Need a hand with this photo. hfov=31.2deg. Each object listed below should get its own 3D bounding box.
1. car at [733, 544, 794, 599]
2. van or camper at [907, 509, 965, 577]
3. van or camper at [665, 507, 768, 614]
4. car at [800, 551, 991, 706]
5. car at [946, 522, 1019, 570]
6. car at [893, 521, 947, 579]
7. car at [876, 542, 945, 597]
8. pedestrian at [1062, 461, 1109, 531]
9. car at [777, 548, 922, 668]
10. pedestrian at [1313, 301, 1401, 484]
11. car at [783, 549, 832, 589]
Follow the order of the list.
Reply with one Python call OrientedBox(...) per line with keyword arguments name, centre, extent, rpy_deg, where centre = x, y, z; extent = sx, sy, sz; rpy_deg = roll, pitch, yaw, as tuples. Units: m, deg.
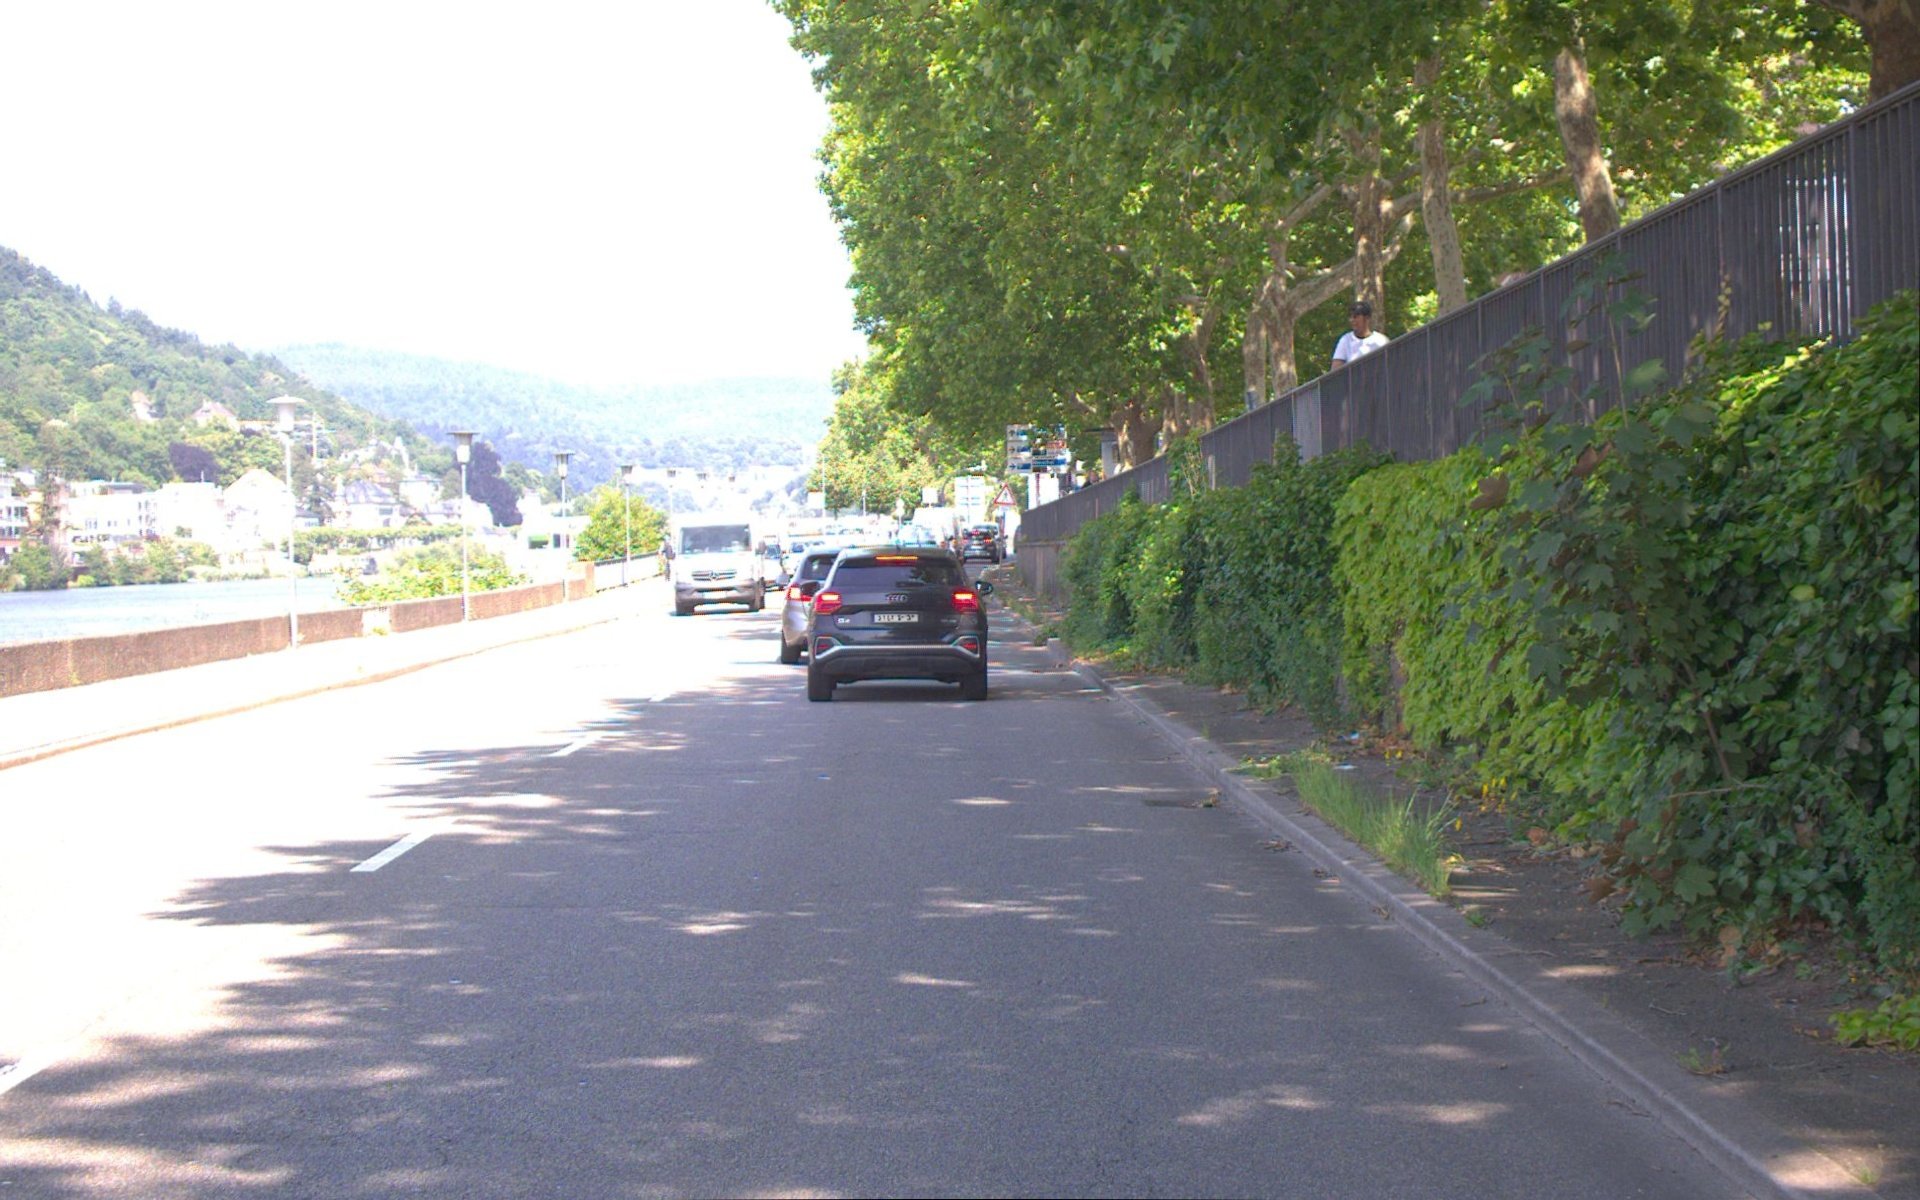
OrientedBox(name="car", centre=(-6.278, -0.916, 109.999), extent=(1.731, 1.644, 4.177), rpy_deg=(-2, 1, -1))
OrientedBox(name="van or camper", centre=(-1.019, -2.459, 148.474), extent=(2.310, 2.837, 4.246), rpy_deg=(-2, 1, 1))
OrientedBox(name="van or camper", centre=(-5.770, -0.957, 81.919), extent=(2.077, 2.390, 5.385), rpy_deg=(-2, 1, -1))
OrientedBox(name="car", centre=(-0.671, 0.243, 35.038), extent=(1.828, 1.481, 4.000), rpy_deg=(0, 1, -1))
OrientedBox(name="car", centre=(1.002, -2.515, 160.494), extent=(3.098, 2.007, 5.825), rpy_deg=(-4, 1, -1))
OrientedBox(name="car", centre=(-1.586, -1.977, 135.614), extent=(1.993, 2.162, 4.000), rpy_deg=(-2, 1, -2))
OrientedBox(name="car", centre=(-1.412, -0.879, 96.755), extent=(1.828, 1.439, 4.000), rpy_deg=(-2, 1, -1))
OrientedBox(name="pedestrian", centre=(2.944, -2.441, 80.903), extent=(0.936, 1.574, 1.028), rpy_deg=(-4, 1, -3))
OrientedBox(name="car", centre=(-1.452, 0.069, 45.563), extent=(1.828, 1.506, 4.000), rpy_deg=(0, 1, -1))
OrientedBox(name="pedestrian", centre=(3.548, -1.845, 30.751), extent=(0.664, 1.586, 0.651), rpy_deg=(-2, 1, -1))
OrientedBox(name="car", centre=(-5.807, -1.208, 131.084), extent=(1.731, 1.437, 4.046), rpy_deg=(-2, 1, -1))
